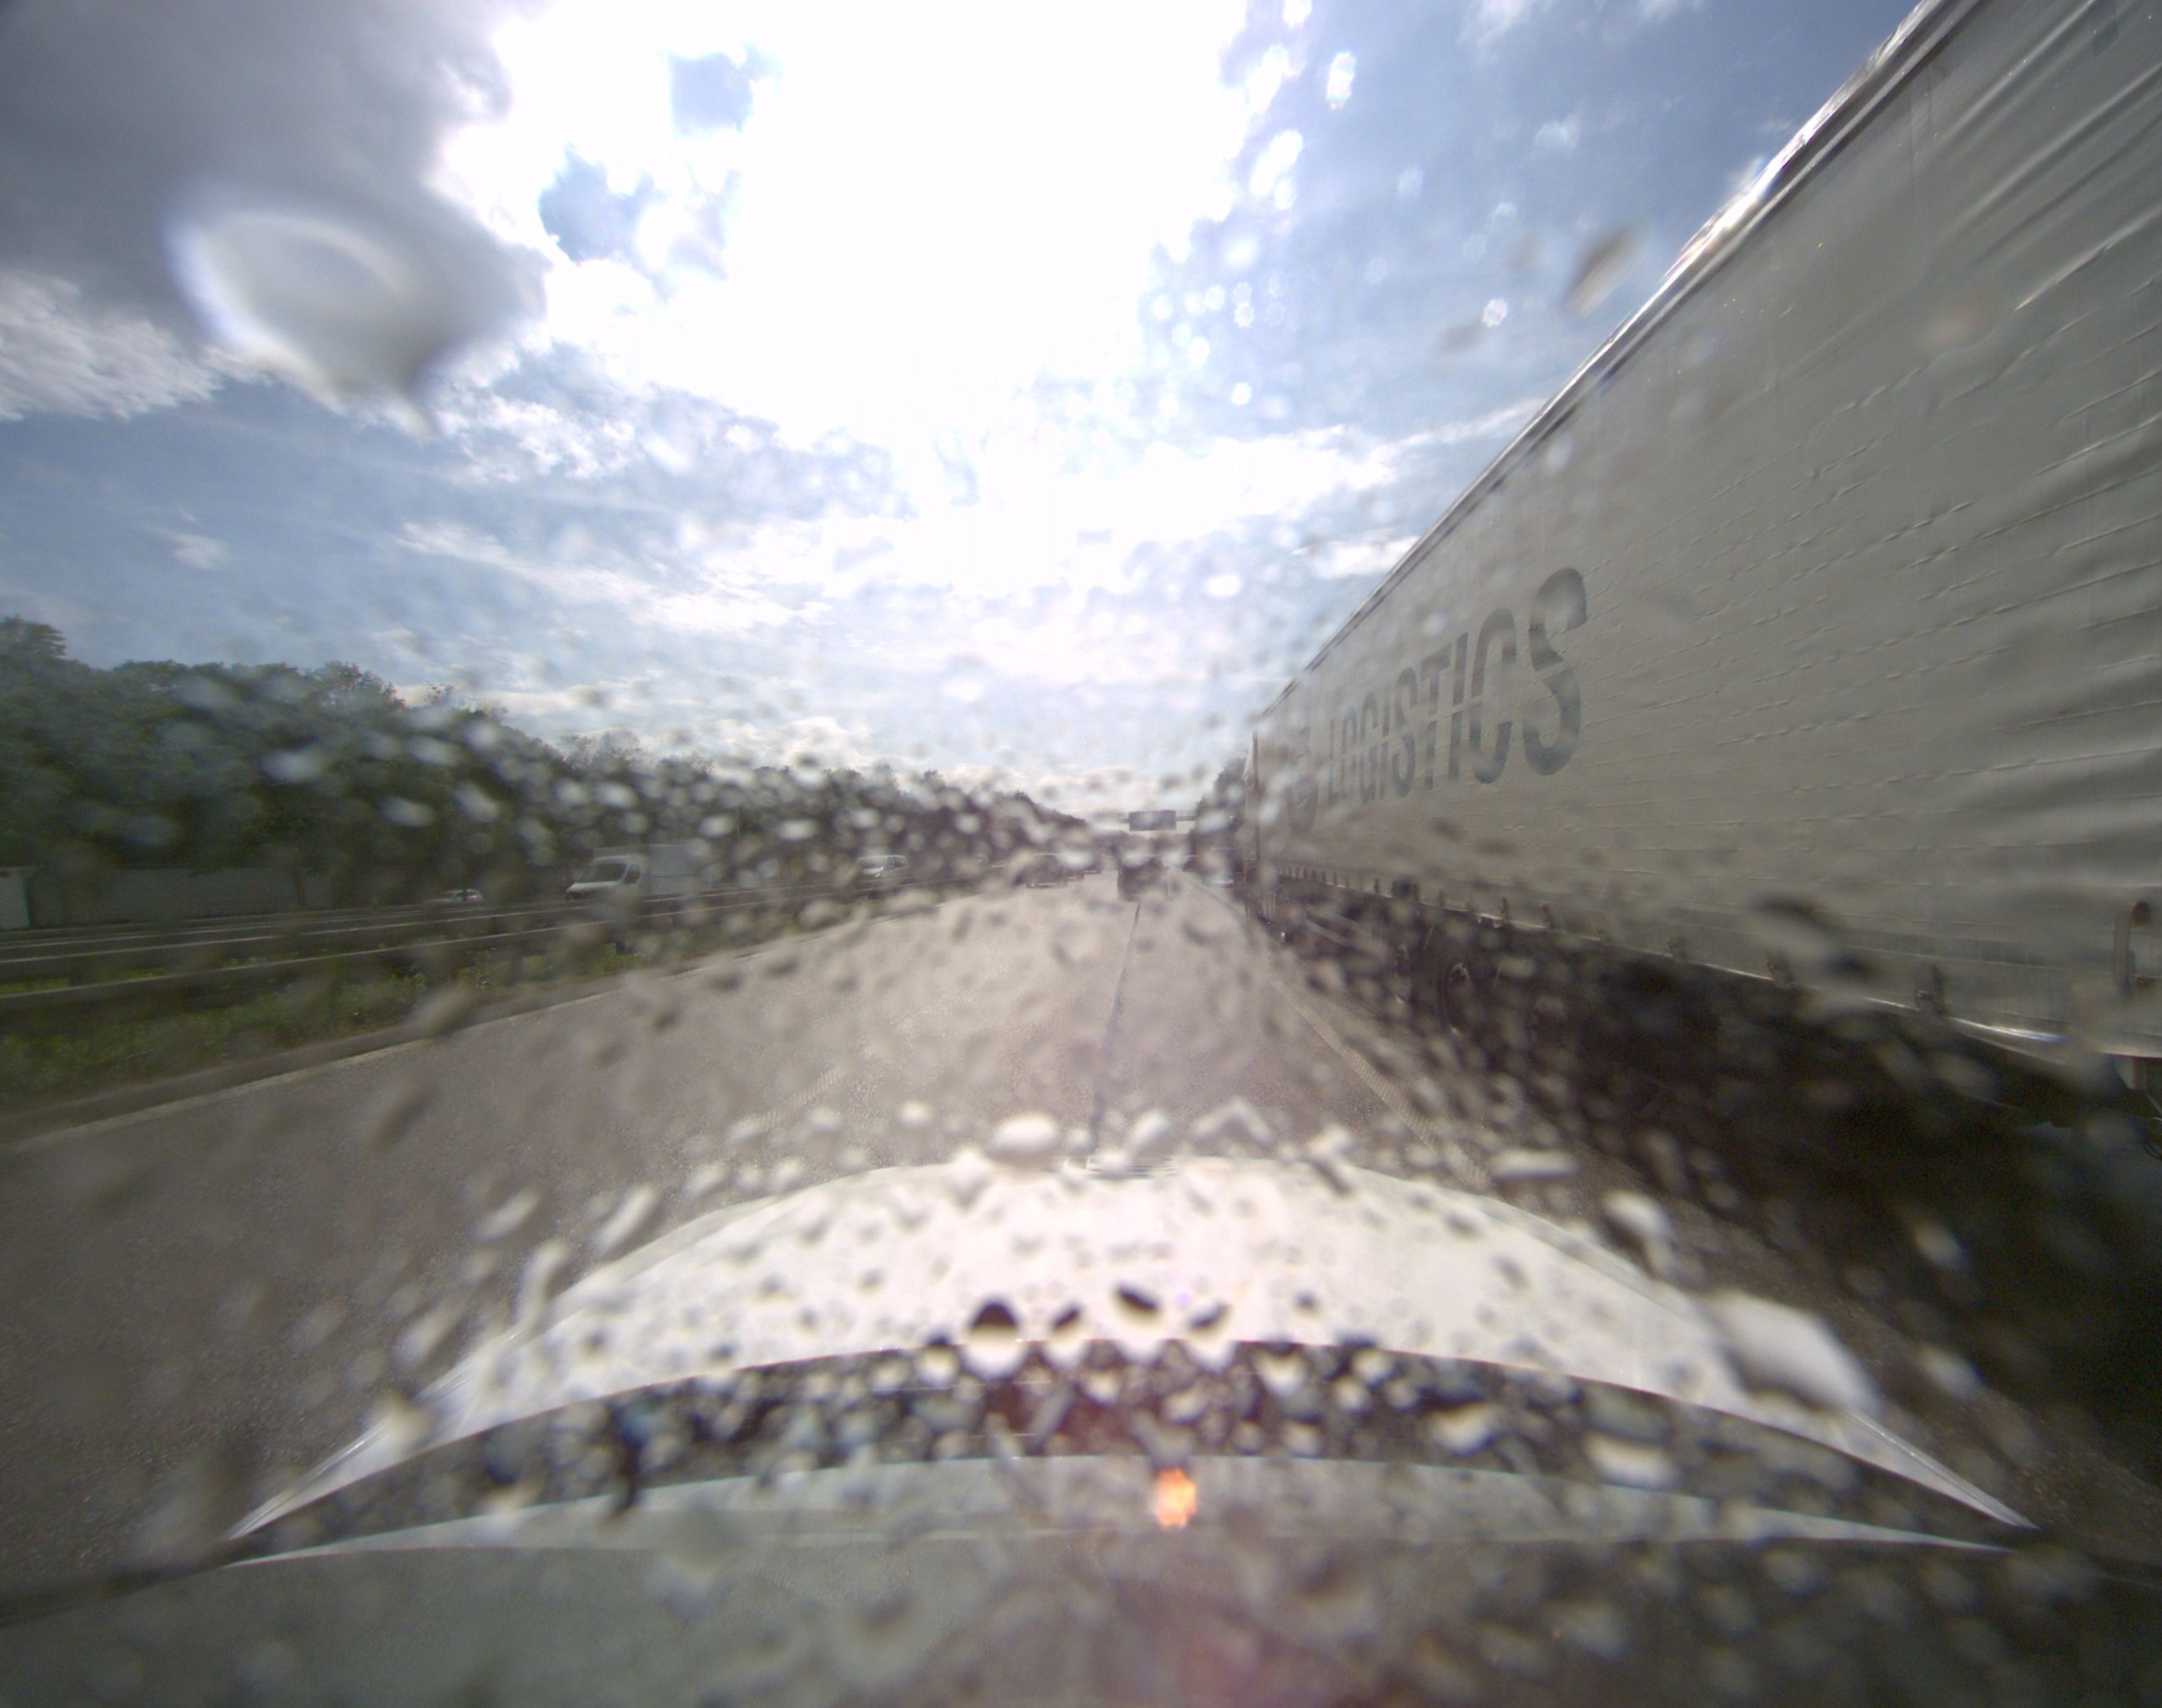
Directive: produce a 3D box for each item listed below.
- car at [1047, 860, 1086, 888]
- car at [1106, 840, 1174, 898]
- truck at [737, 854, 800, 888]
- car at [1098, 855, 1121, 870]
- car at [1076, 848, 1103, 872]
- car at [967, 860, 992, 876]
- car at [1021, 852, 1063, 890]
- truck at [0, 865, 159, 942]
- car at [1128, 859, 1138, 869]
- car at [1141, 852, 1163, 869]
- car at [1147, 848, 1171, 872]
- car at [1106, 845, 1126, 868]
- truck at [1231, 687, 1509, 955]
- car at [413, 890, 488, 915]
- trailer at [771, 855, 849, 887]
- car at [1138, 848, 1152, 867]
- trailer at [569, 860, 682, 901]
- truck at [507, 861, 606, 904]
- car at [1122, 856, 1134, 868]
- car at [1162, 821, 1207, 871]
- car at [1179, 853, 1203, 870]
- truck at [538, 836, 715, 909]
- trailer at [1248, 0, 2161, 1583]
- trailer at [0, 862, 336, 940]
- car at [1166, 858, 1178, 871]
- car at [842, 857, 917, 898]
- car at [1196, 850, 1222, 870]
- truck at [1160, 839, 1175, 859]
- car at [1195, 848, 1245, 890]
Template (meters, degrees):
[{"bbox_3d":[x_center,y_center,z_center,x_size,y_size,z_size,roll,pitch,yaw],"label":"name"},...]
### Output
[{"bbox_3d":[-0.854,1.253,51.592,1.899,1.636,4.623,-1,-1,5],"label":"car"},{"bbox_3d":[2.129,0.530,29.886,2.264,1.954,4.825,0,-1,3],"label":"car"},{"bbox_3d":[-39.315,2.164,102.658,3.757,4.117,7.078,-1,-1,18],"label":"truck"},{"bbox_3d":[2.959,0.886,83.874,1.984,1.565,4.763,0,-1,5],"label":"car"},{"bbox_3d":[0.811,0.542,71.073,1.969,2.054,4.763,0,-1,5],"label":"car"},{"bbox_3d":[-12.494,1.750,100.165,2.037,1.891,5.265,0,-1,4],"label":"car"},{"bbox_3d":[-1.916,0.814,40.856,1.685,1.805,3.979,0,-1,3],"label":"car"},{"bbox_3d":[-52.259,2.365,40.646,3.770,3.589,7.365,0,-1,5],"label":"truck"},{"bbox_3d":[11.111,2.055,174.524,1.984,2.116,4.896,0,-1,5],"label":"car"},{"bbox_3d":[6.597,0.583,76.159,1.857,1.516,3.978,0,-1,3],"label":"car"},{"bbox_3d":[6.068,0.501,63.647,1.685,1.805,3.979,0,-1,3],"label":"car"},{"bbox_3d":[4.182,0.280,96.792,1.984,2.615,5.267,0,-1,5],"label":"car"},{"bbox_3d":[4.804,-0.473,15.107,3.270,3.891,6.403,0,0,4],"label":"truck"},{"bbox_3d":[-48.714,3.710,63.007,2.047,1.718,4.377,0,-1,7],"label":"car"},{"bbox_3d":[-36.654,2.235,110.701,3.757,4.117,11.780,-1,-1,18],"label":"trailer"},{"bbox_3d":[9.472,0.505,120.820,1.984,2.746,5.267,0,-1,5],"label":"car"},{"bbox_3d":[-45.130,2.509,81.296,3.763,3.649,10.532,-2,0,12],"label":"trailer"},{"bbox_3d":[-46.783,2.479,72.919,3.764,3.660,6.724,0,-1,10],"label":"truck"},{"bbox_3d":[8.562,1.410,148.120,1.984,2.116,4.896,0,-1,5],"label":"car"},{"bbox_3d":[13.053,-0.827,104.522,4.386,5.830,16.829,0,-1,3],"label":"car"},{"bbox_3d":[9.885,0.668,73.298,1.857,1.516,3.978,0,-1,3],"label":"car"},{"bbox_3d":[-18.540,0.729,33.920,2.829,2.682,7.201,0,-1,5],"label":"truck"},{"bbox_3d":[4.262,-0.502,8.269,3.269,3.898,14.144,0,0,4],"label":"trailer"},{"bbox_3d":[-51.612,2.412,47.124,3.770,3.649,13.366,-2,0,6],"label":"trailer"},{"bbox_3d":[15.468,1.782,138.386,1.984,2.116,4.896,0,-1,5],"label":"car"},{"bbox_3d":[-9.847,1.101,40.228,2.037,1.891,5.265,0,-1,4],"label":"car"},{"bbox_3d":[9.584,0.456,61.215,1.584,1.516,3.979,0,-1,3],"label":"car"},{"bbox_3d":[16.049,-0.861,150.909,2.762,3.632,5.925,0,-1,5],"label":"truck"},{"bbox_3d":[6.770,0.720,40.192,1.933,1.919,5.658,0,-1,4],"label":"car"}]
